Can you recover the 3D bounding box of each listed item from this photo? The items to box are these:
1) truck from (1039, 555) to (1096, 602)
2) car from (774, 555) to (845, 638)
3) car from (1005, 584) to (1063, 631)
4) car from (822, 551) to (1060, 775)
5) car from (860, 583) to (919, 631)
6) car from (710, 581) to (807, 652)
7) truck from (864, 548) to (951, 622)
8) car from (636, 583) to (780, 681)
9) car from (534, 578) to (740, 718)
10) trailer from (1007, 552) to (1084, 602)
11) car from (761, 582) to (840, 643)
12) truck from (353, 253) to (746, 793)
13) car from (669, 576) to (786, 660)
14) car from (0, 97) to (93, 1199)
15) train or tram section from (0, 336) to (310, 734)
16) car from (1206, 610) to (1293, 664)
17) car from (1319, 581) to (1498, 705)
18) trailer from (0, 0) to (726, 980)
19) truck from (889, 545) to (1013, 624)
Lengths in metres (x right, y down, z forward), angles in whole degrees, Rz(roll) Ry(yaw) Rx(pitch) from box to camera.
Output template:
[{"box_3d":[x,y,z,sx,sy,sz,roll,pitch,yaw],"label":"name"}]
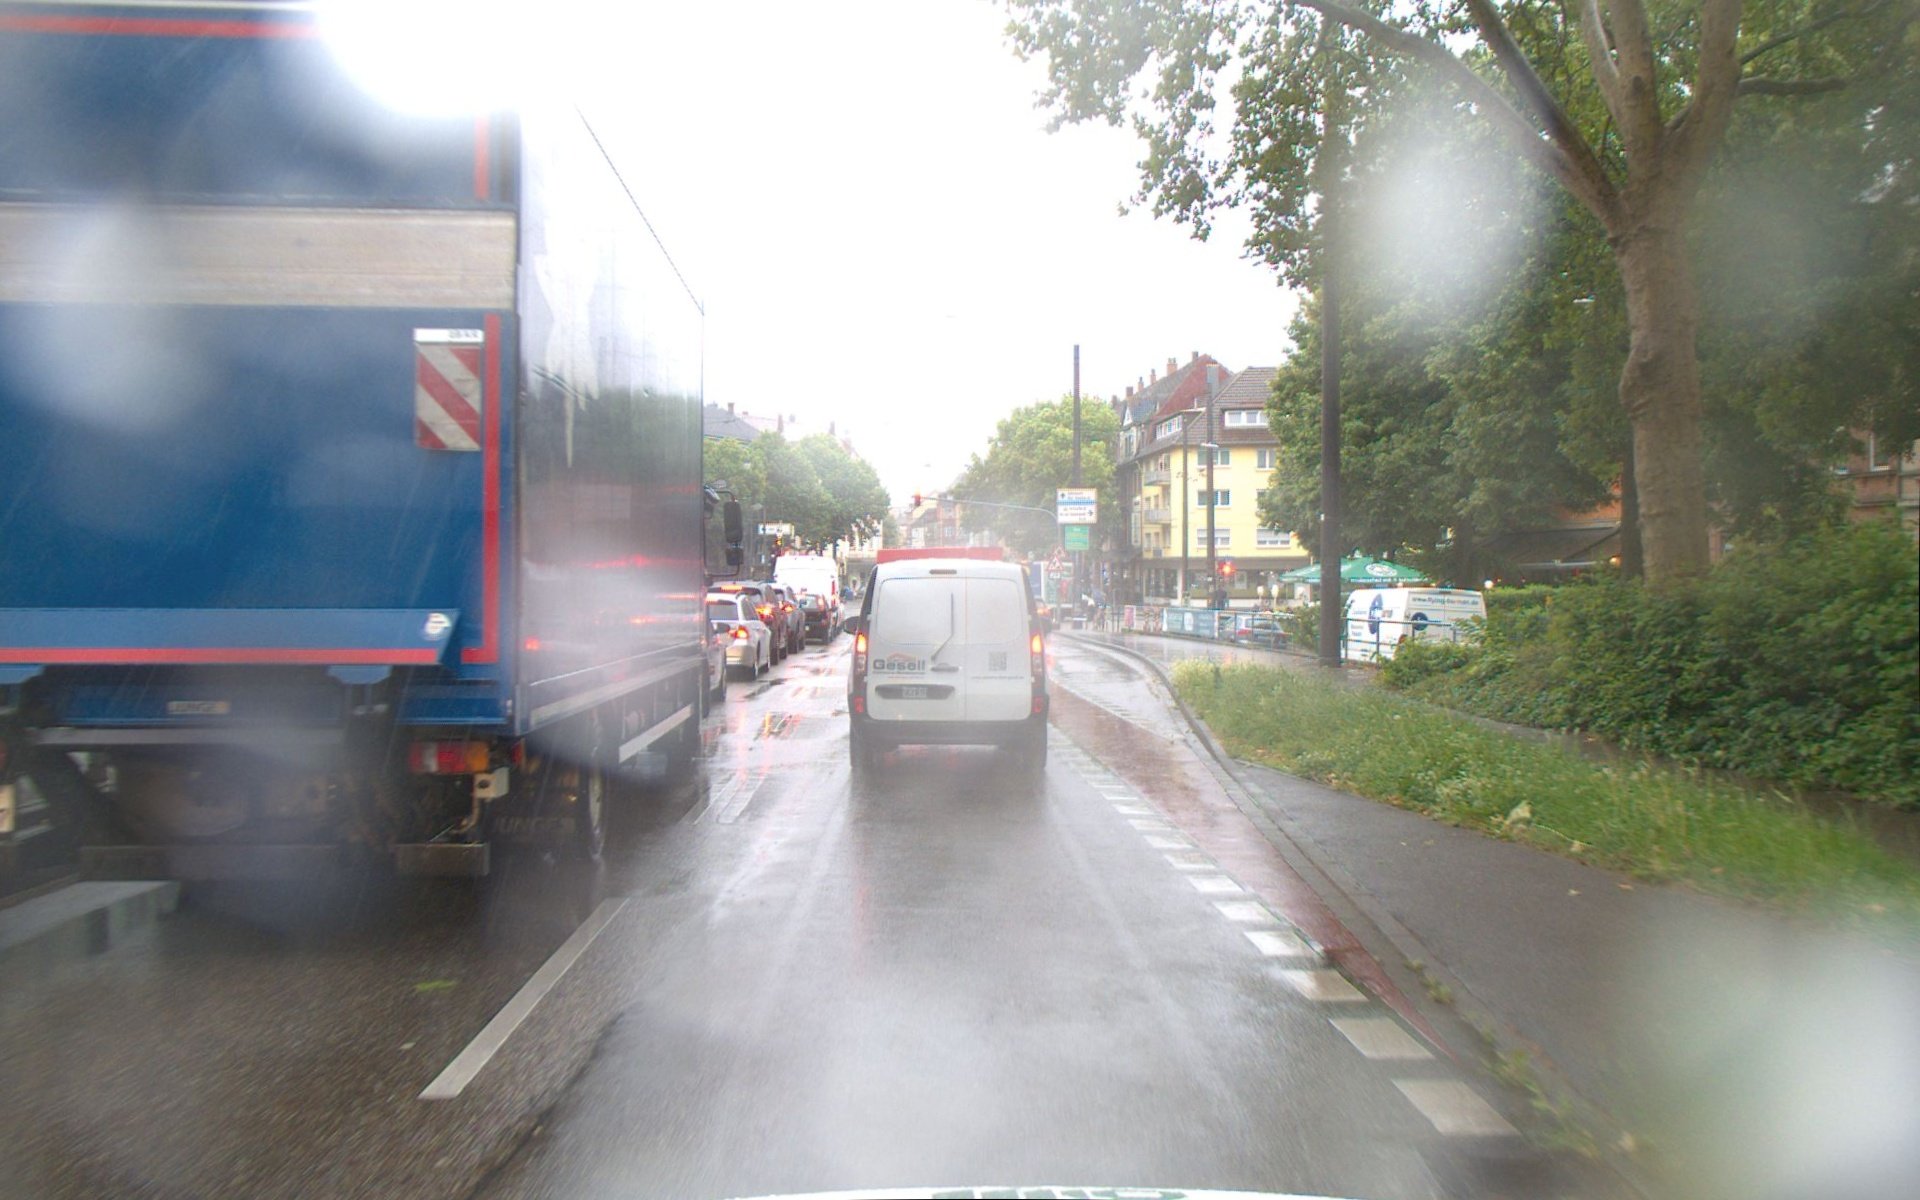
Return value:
[{"box_3d":[5.552,-1.096,85.488,1.957,2.339,2.643,0,-1,31],"label":"truck"},{"box_3d":[-4.761,-0.109,52.804,1.953,2.485,4.610,2,0,-2],"label":"car"},{"box_3d":[2.553,0.246,57.539,1.952,1.569,4.001,0,0,2],"label":"car"},{"box_3d":[-0.211,0.537,15.222,1.919,1.808,3.568,1,-1,-2],"label":"car"},{"box_3d":[-2.280,0.245,54.318,1.724,1.494,3.533,1,0,1],"label":"car"},{"box_3d":[-4.881,0.382,40.607,1.953,1.606,4.290,2,0,-2],"label":"car"},{"box_3d":[-3.760,-1.074,116.710,3.242,4.985,7.112,-2,1,-29],"label":"truck"},{"box_3d":[-4.288,0.497,28.752,1.953,1.498,4.265,2,1,-2],"label":"car"},{"box_3d":[-4.050,0.528,21.389,1.953,1.564,4.131,-1,1,-2],"label":"car"},{"box_3d":[4.344,-1.134,83.540,1.957,2.357,4.658,0,-1,31],"label":"trailer"},{"box_3d":[-4.515,0.343,47.290,1.953,1.606,4.290,2,0,-2],"label":"car"},{"box_3d":[-3.301,-0.575,14.274,2.529,3.972,3.998,1,0,-3],"label":"truck"},{"box_3d":[-4.782,0.353,34.634,1.953,1.606,4.290,2,0,-2],"label":"car"},{"box_3d":[-3.183,0.150,0.927,2.283,2.602,6.111,1,-1,-2],"label":"car"},{"box_3d":[-9.661,-0.573,16.970,2.919,3.343,8.427,-1,1,-3],"label":"train or tram section"},{"box_3d":[9.173,1.151,52.768,1.786,1.516,4.350,-1,1,-3],"label":"car"},{"box_3d":[10.261,0.887,38.403,2.137,2.576,5.772,-1,1,-5],"label":"car"},{"box_3d":[-3.076,-0.547,10.191,2.539,3.968,7.631,1,0,-3],"label":"trailer"},{"box_3d":[-0.762,-1.034,111.054,3.242,4.985,11.291,-2,1,-29],"label":"truck"}]
